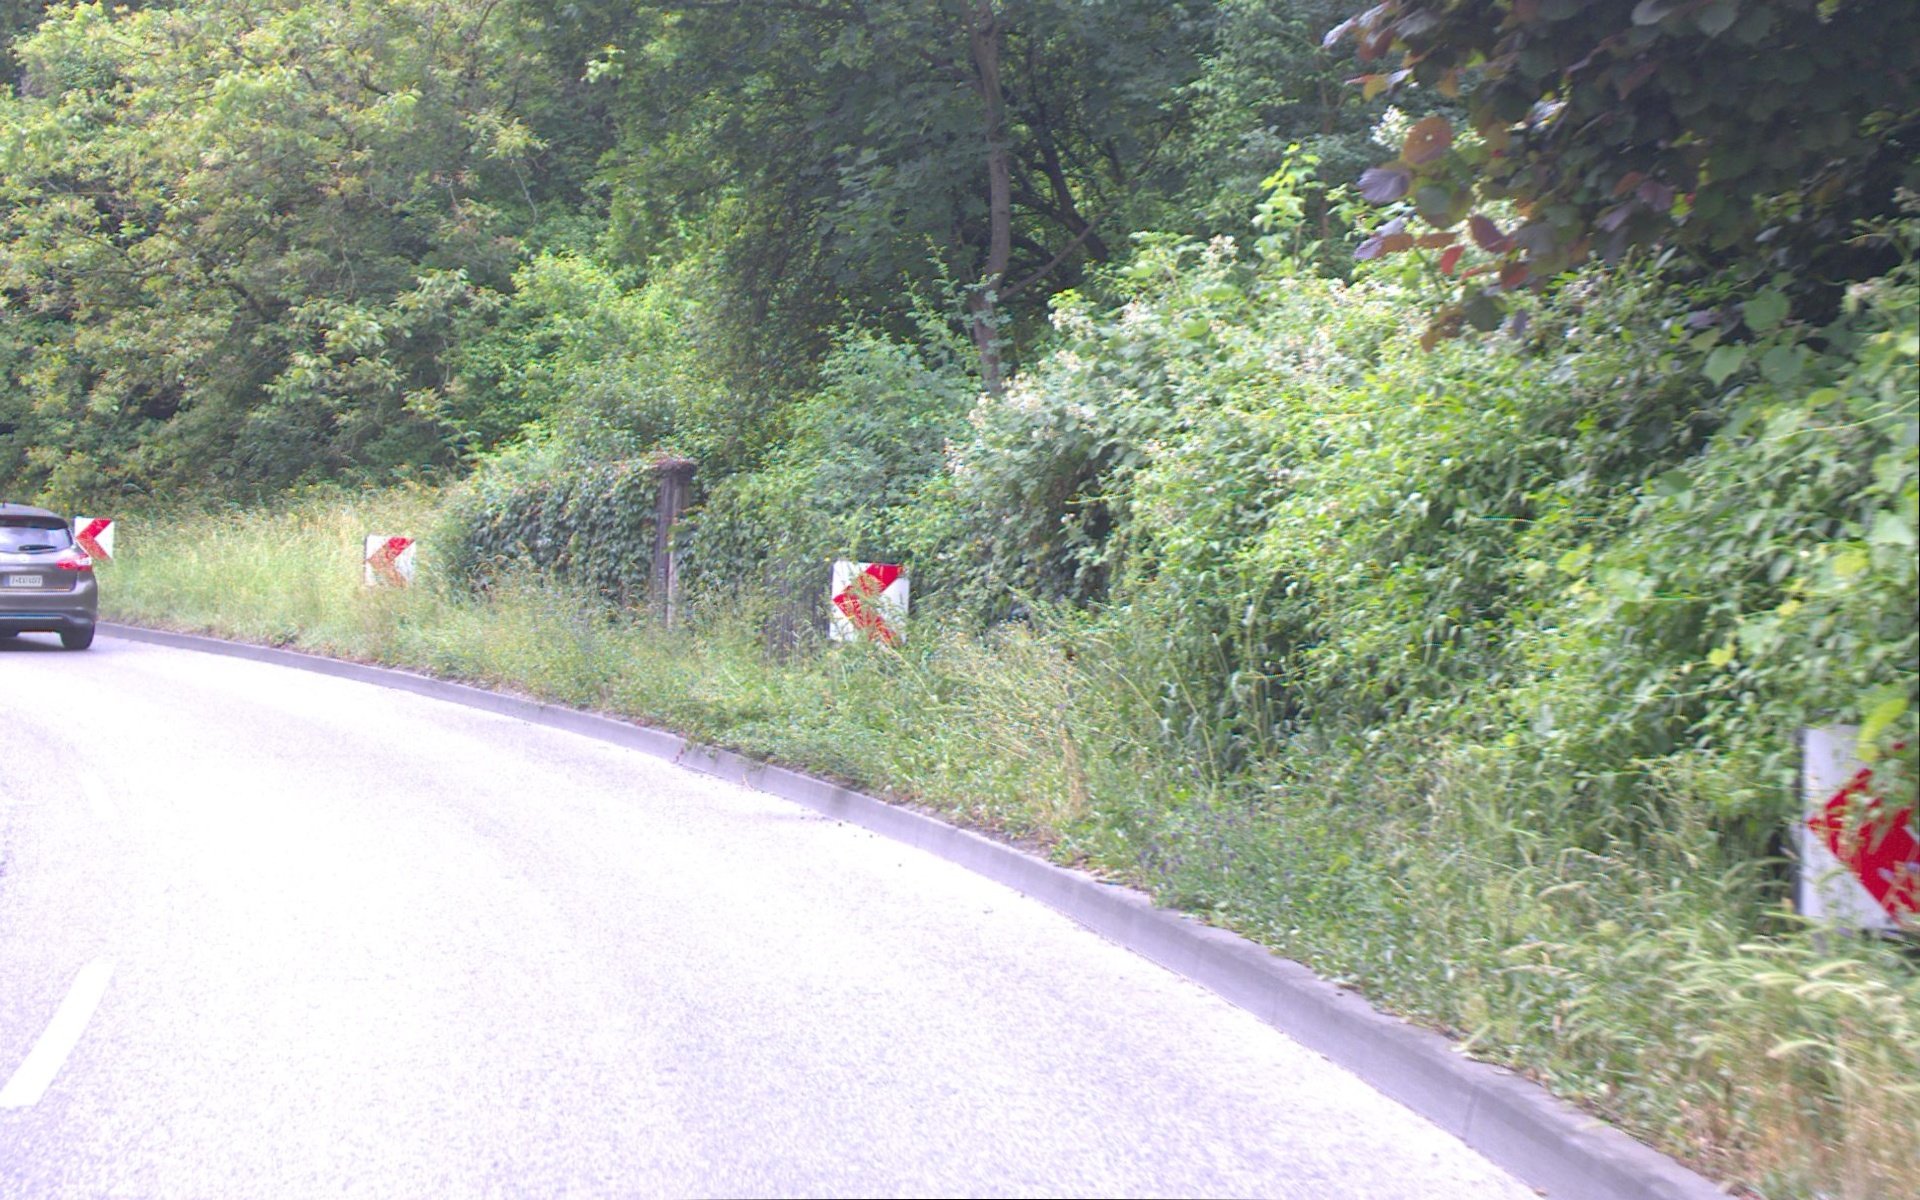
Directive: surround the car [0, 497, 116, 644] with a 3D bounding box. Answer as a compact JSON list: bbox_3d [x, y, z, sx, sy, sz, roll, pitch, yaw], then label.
[{"bbox_3d":[-10.495,-0.309,36.598,1.839,1.478,4.000,1,0,-31],"label":"car"}]
